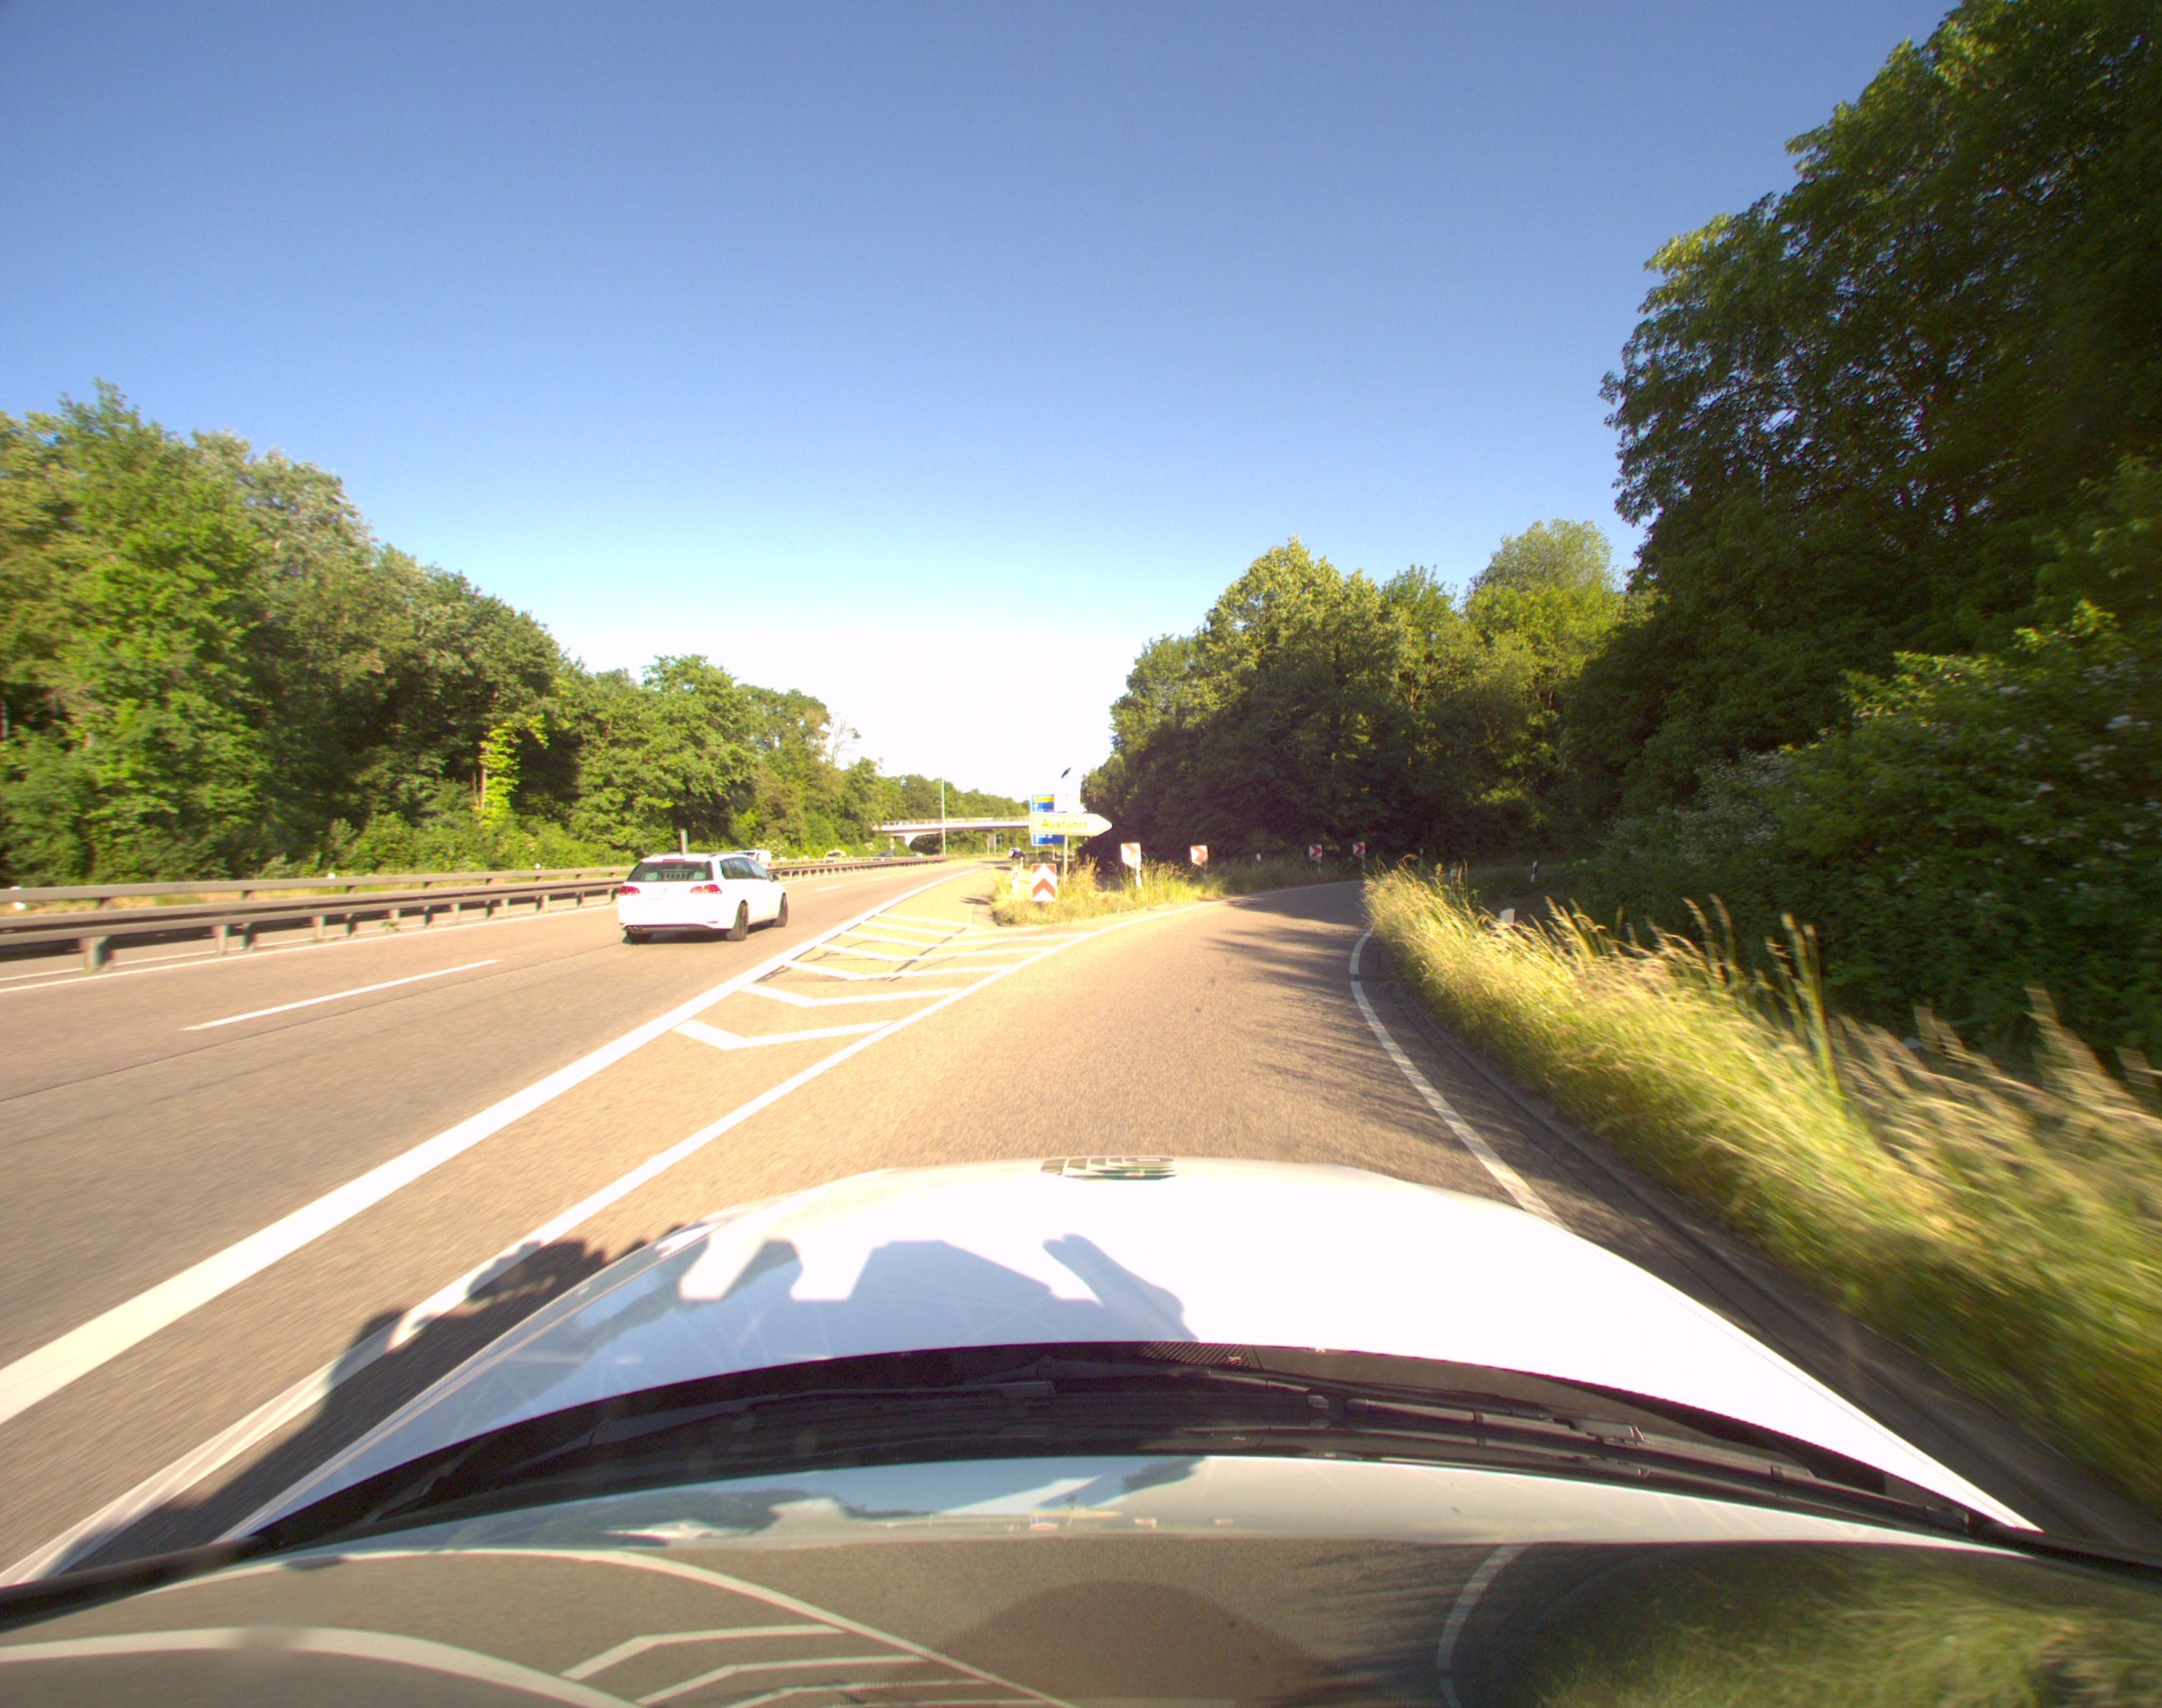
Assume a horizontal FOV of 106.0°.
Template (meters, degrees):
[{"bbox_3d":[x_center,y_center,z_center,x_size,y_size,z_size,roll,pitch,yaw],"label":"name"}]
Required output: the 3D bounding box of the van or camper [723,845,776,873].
[{"bbox_3d":[-24.890,0.355,61.342,2.068,2.013,4.815,-1,0,-2],"label":"van or camper"}]

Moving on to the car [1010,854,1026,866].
[{"bbox_3d":[-9.174,0.805,118.079,1.731,1.662,3.950,-1,0,4],"label":"car"}]

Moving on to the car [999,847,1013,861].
[{"bbox_3d":[-12.650,0.059,137.970,1.987,2.277,4.000,-1,0,0],"label":"car"}]

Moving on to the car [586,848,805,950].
[{"bbox_3d":[-6.651,0.674,14.877,1.927,1.508,5.585,0,0,-7],"label":"car"}]

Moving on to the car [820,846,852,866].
[{"bbox_3d":[-25.262,0.210,84.132,1.986,2.013,4.001,-1,0,1],"label":"car"}]
